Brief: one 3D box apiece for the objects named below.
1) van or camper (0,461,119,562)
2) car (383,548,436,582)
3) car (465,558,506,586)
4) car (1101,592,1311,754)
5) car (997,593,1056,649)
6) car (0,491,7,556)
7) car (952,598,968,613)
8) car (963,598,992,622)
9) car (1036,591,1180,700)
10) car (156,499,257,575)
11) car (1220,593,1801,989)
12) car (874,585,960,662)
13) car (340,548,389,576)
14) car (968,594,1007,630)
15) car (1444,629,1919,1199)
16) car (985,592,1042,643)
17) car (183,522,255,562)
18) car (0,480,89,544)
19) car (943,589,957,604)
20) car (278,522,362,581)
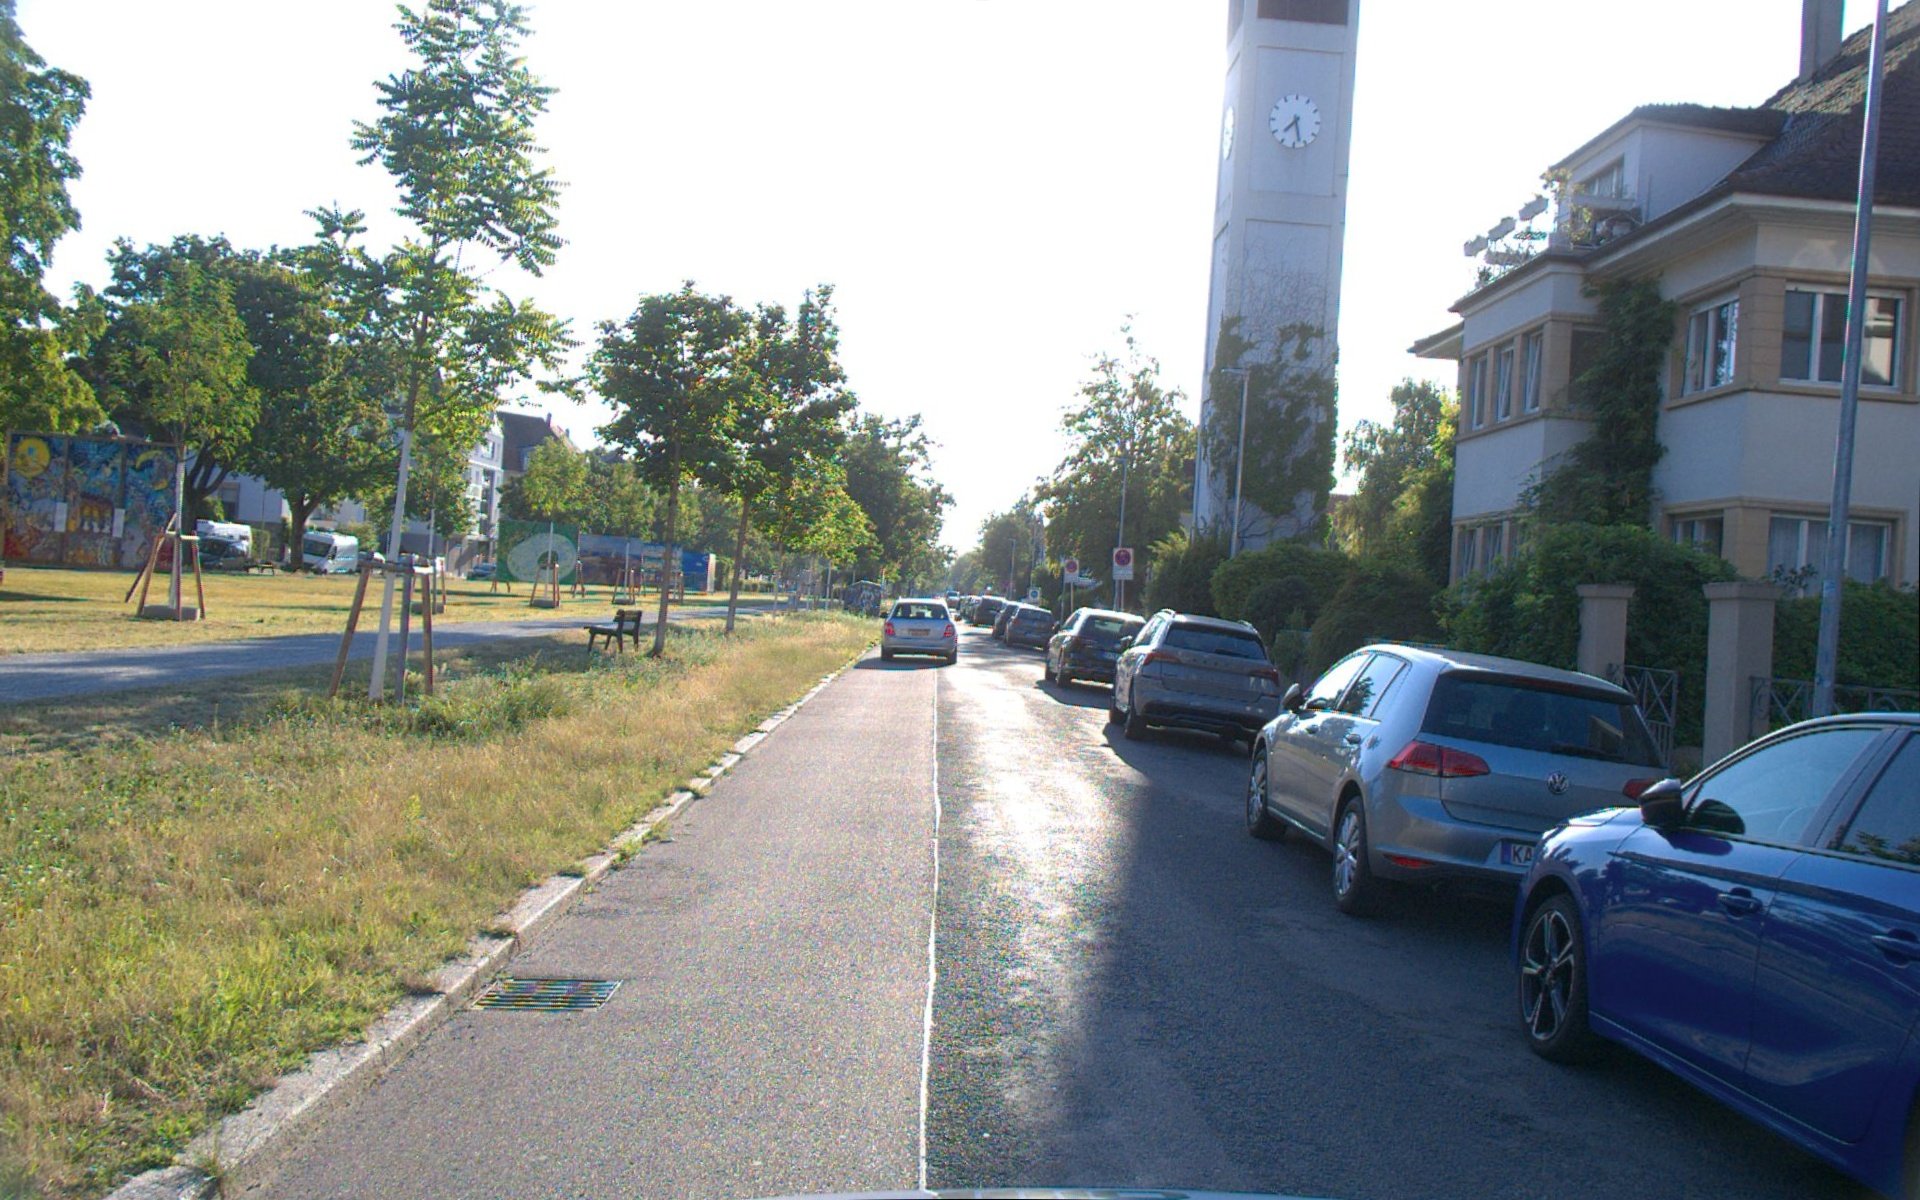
[{"bbox_3d":[-33.865,-3.205,60.324,2.588,3.319,6.904,4,0,0],"label":"van or camper"},{"bbox_3d":[-34.862,-2.180,104.834,1.796,1.932,4.642,1,-1,0],"label":"car"},{"bbox_3d":[-35.226,-2.073,122.856,1.851,1.950,4.326,1,-1,-1],"label":"car"},{"bbox_3d":[2.936,0.854,20.683,1.846,1.562,4.461,8,-1,1],"label":"car"},{"bbox_3d":[2.269,0.693,57.096,1.655,1.553,4.174,8,1,-1],"label":"car"},{"bbox_3d":[-40.286,-3.205,65.157,1.953,2.643,6.088,1,-1,-1],"label":"car"},{"bbox_3d":[-0.049,0.649,190.595,1.687,1.624,3.999,4,-1,0],"label":"car"},{"bbox_3d":[1.249,0.737,120.109,1.953,1.487,4.561,6,0,0],"label":"car"},{"bbox_3d":[2.719,0.833,31.550,1.955,1.624,4.884,9,-1,-2],"label":"car"},{"bbox_3d":[-40.024,-3.284,88.071,2.256,3.621,6.763,1,-1,-1],"label":"car"},{"bbox_3d":[3.041,0.925,10.329,1.874,1.585,4.566,9,1,-1],"label":"car"},{"bbox_3d":[-0.956,0.503,38.397,1.786,1.593,4.000,3,0,0],"label":"car"},{"bbox_3d":[-40.677,-2.558,113.086,1.745,1.732,4.665,1,-1,-1],"label":"car"},{"bbox_3d":[1.483,0.695,92.400,1.796,1.761,5.030,7,-1,-1],"label":"car"},{"bbox_3d":[3.154,0.985,5.045,1.730,1.458,4.301,11,-1,-2],"label":"car"},{"bbox_3d":[2.040,0.654,63.966,1.788,1.586,4.621,10,0,0],"label":"car"},{"bbox_3d":[-33.965,-2.635,75.901,1.386,1.591,4.308,5,0,-2],"label":"car"},{"bbox_3d":[-33.865,-3.205,60.324,1.953,2.048,4.000,5,0,0],"label":"car"},{"bbox_3d":[-1.557,-0.476,248.795,1.948,2.058,3.999,5,0,0],"label":"car"},{"bbox_3d":[-34.386,-2.549,89.070,2.214,2.875,5.870,1,-1,-1],"label":"car"}]
